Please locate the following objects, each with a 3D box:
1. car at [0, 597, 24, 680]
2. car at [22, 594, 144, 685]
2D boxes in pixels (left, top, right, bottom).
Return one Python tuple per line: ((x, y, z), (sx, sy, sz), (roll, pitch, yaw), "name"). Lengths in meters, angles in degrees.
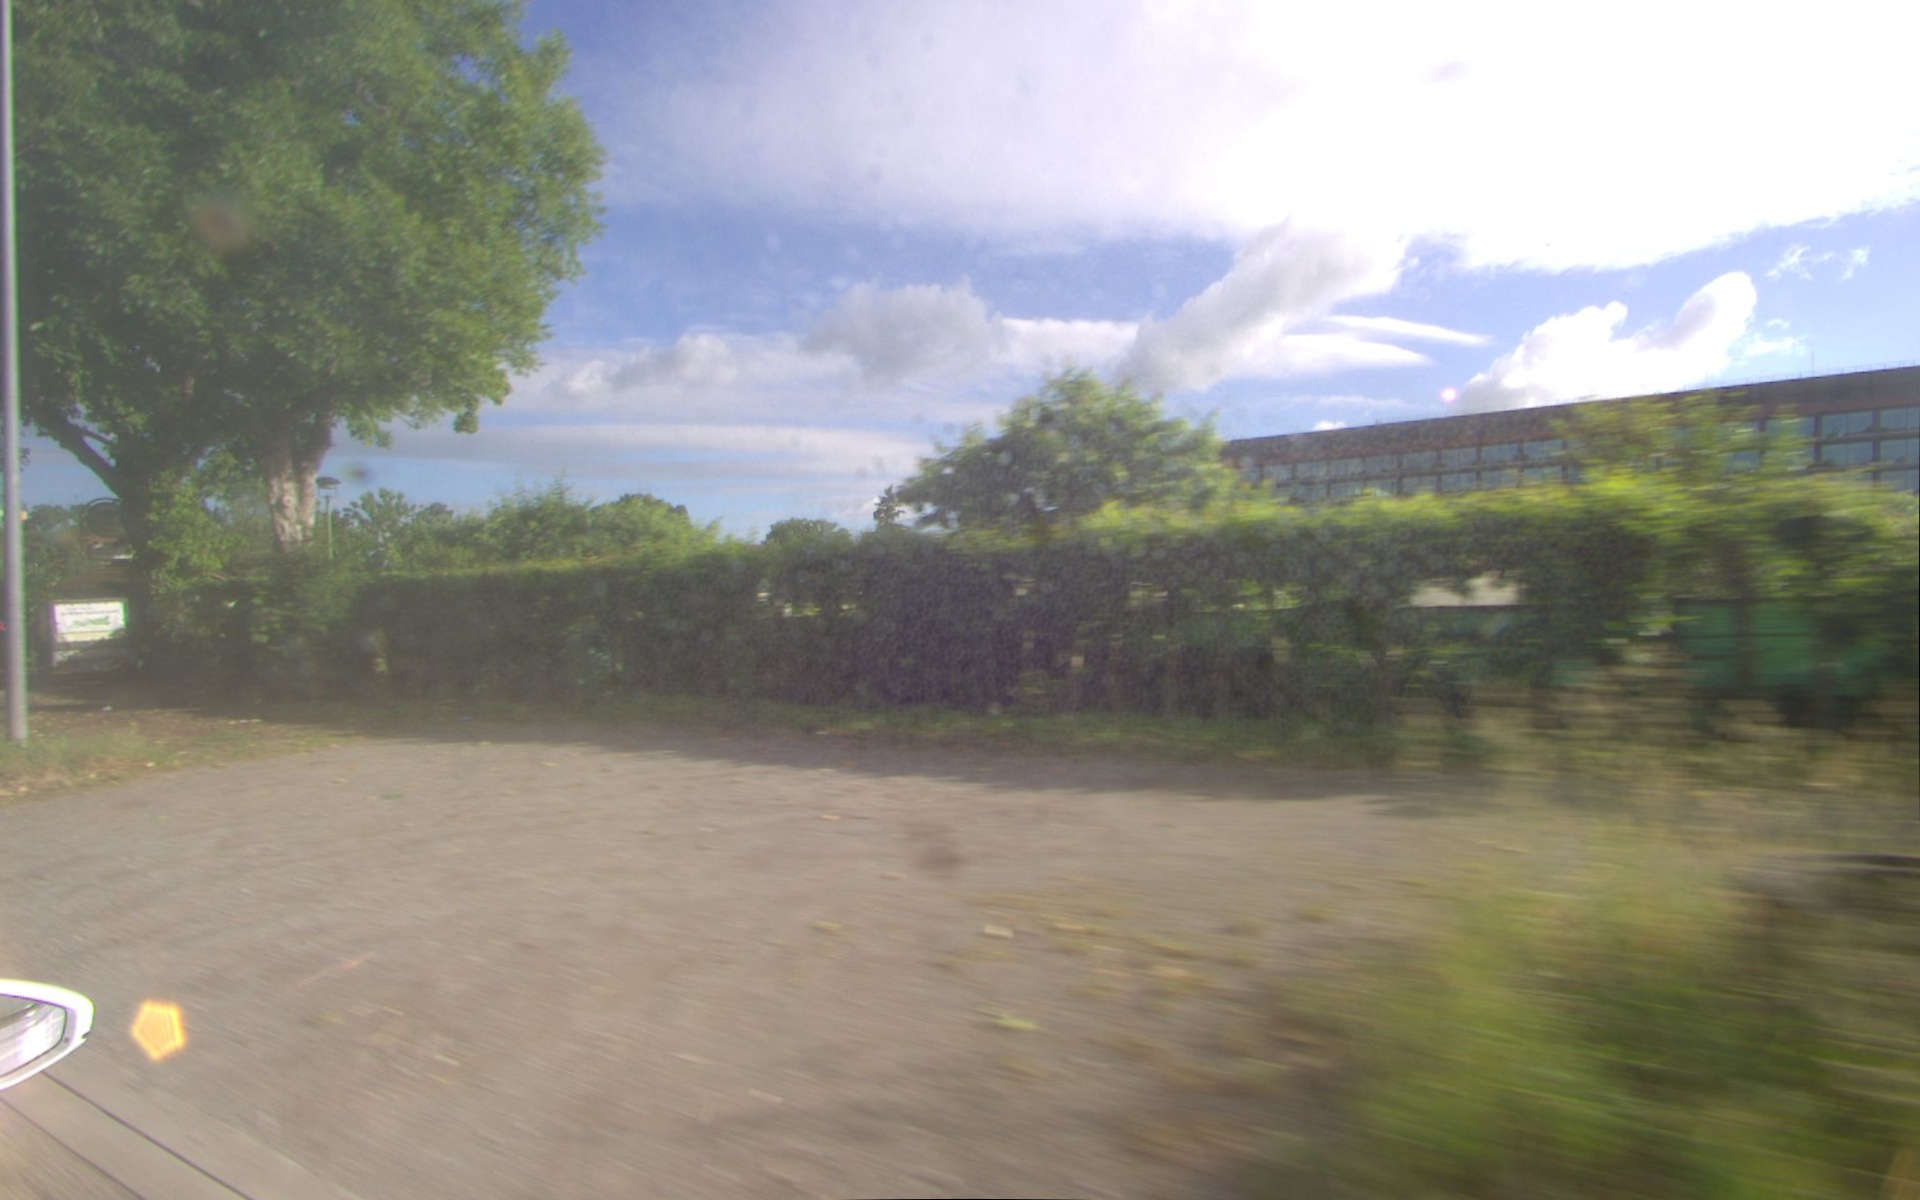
((-21.155, 0.871, 19.105), (1.971, 1.669, 4.392), (-1, 2, 32), "car")
((-18.090, 0.751, 20.598), (4.065, 1.655, 1.343), (0, 3, 42), "car")
